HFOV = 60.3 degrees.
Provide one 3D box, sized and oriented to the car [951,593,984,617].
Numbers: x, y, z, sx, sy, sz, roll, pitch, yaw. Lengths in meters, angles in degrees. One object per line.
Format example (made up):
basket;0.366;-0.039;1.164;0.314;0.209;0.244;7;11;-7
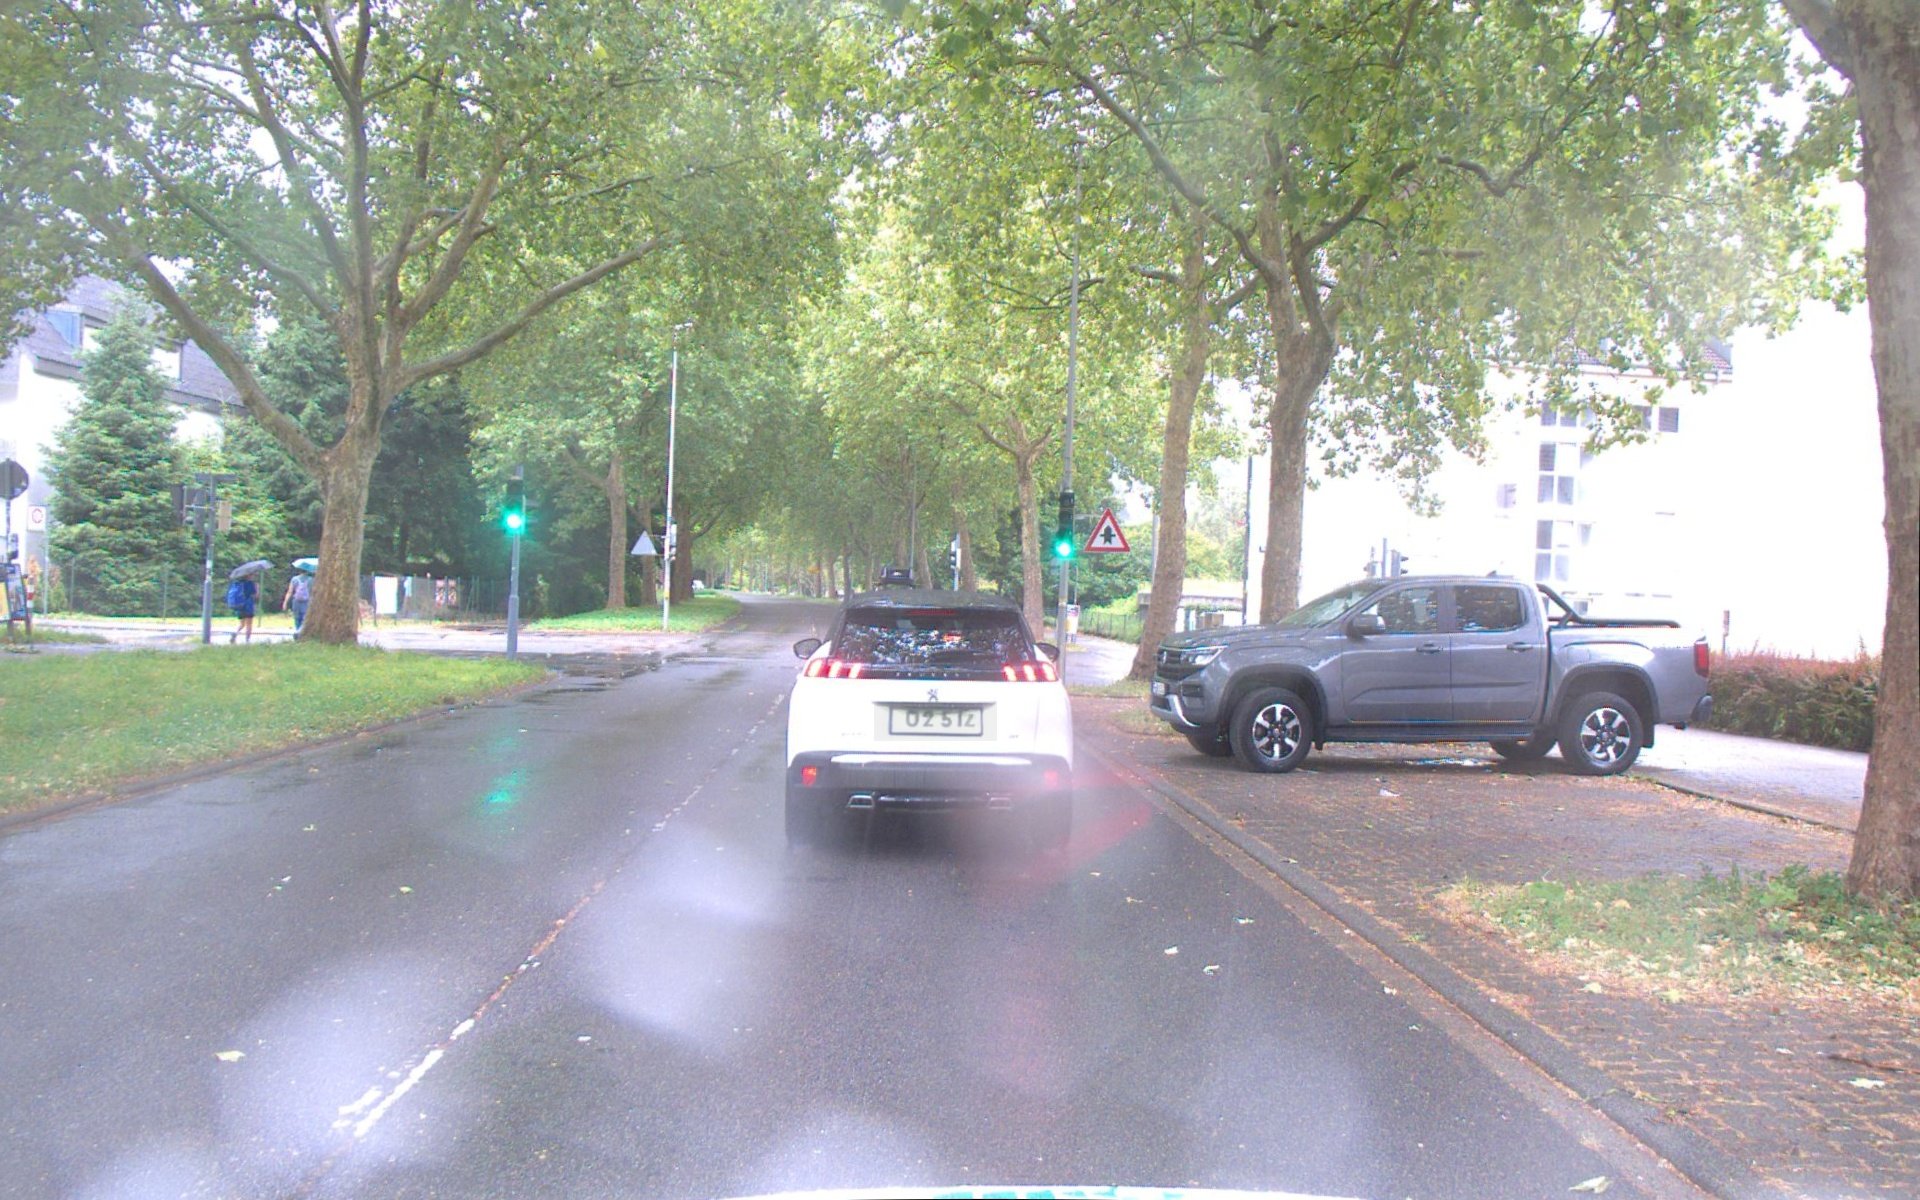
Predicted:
car;0.470;0.337;111.705;1.868;1.536;3.927;2;0;-5

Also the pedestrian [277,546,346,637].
pedestrian;-13.043;-0.171;33.293;1.012;1.796;0.838;1;0;-1

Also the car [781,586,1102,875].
car;-0.144;0.711;11.195;1.744;1.563;4.056;1;0;-1

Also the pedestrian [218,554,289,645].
pedestrian;-14.212;-0.015;33.306;1.012;1.796;0.879;1;0;-1

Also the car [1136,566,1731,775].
car;4.486;0.655;16.016;5.238;1.838;1.842;1;0;-8

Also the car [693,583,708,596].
car;-37.391;-1.500;238.391;1.837;1.706;3.704;2;0;-5
